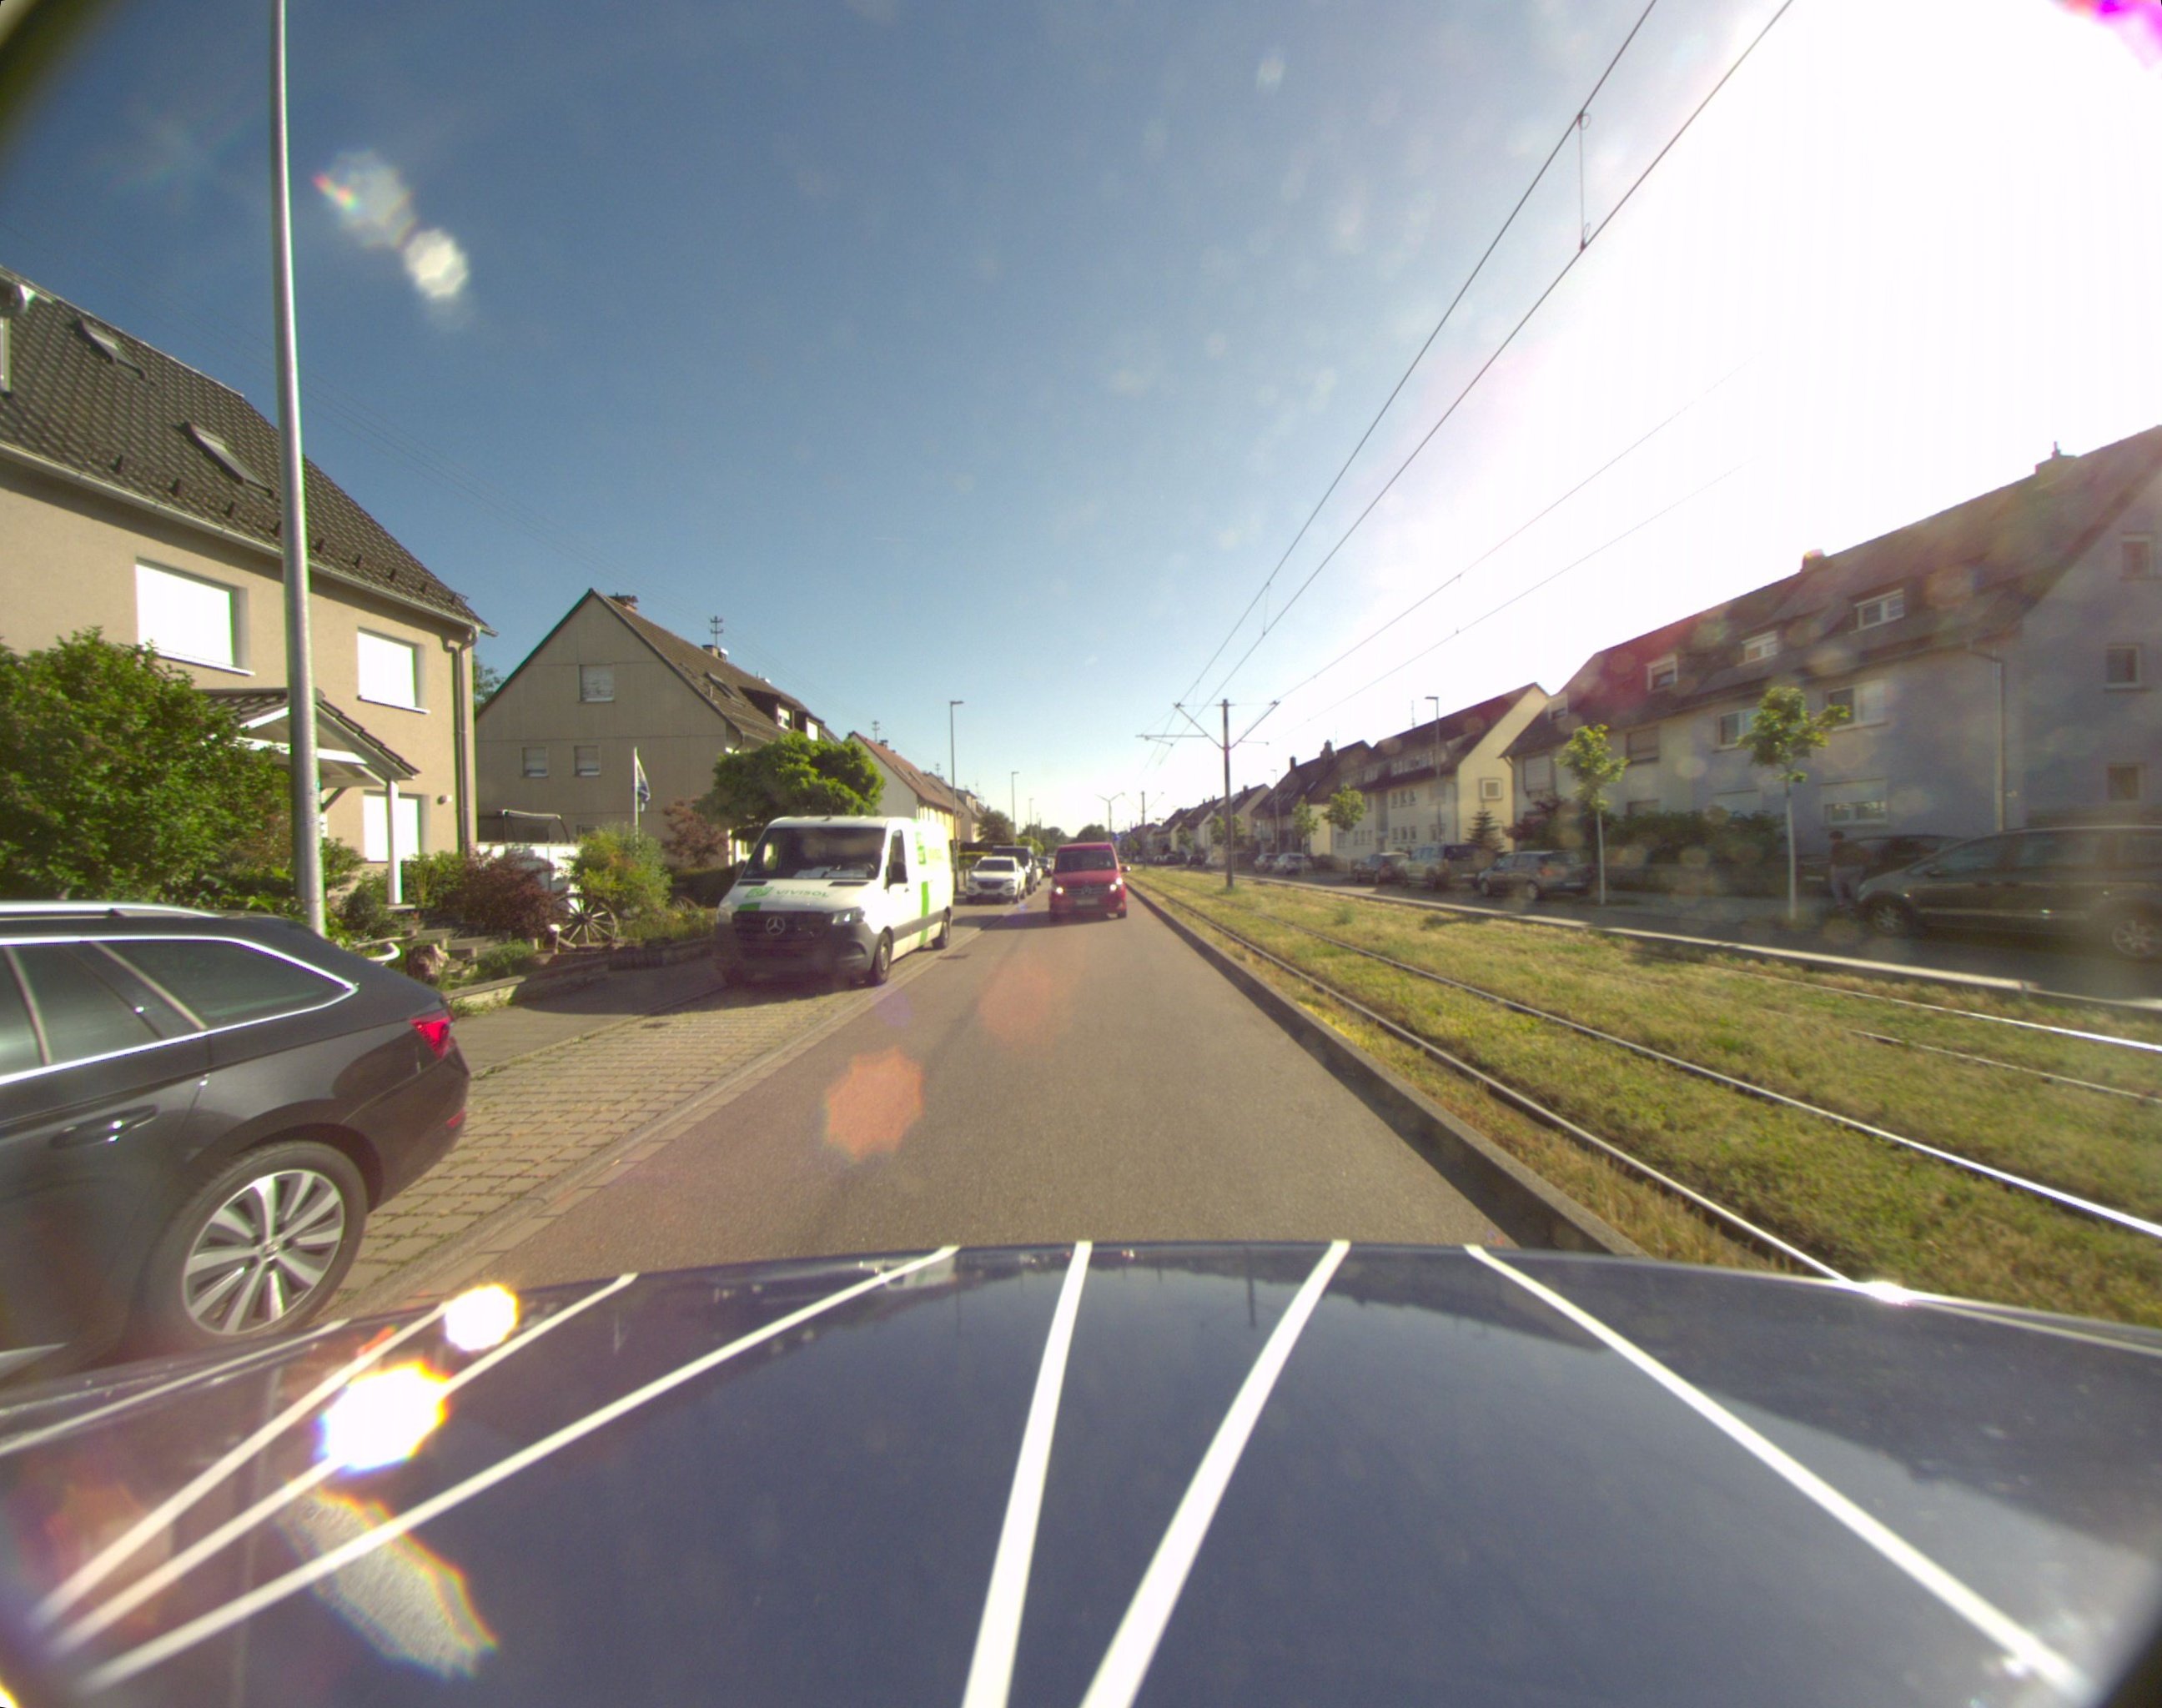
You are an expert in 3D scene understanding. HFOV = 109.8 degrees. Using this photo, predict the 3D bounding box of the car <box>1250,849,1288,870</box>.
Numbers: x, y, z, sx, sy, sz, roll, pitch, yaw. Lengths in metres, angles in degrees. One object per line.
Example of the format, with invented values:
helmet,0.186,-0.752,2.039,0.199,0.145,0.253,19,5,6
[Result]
car,14.370,0.422,58.173,1.693,1.464,4.314,-3,1,-1

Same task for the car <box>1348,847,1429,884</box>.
car,14.366,0.497,35.780,1.965,1.531,4.556,-3,1,1

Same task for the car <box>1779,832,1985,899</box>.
car,20.329,0.265,19.373,3.642,1.453,1.691,-3,1,-4

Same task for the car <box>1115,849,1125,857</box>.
car,8.241,-0.231,160.396,1.693,1.467,3.679,-3,1,-1

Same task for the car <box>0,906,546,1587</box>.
car,-3.478,1.020,1.054,1.753,1.485,5.155,0,1,1

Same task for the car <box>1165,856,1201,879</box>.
car,7.734,0.990,57.832,1.862,1.592,4.327,1,0,-3

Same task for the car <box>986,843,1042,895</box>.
car,-2.871,0.596,33.822,1.964,2.131,5.335,0,0,1

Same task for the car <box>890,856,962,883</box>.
car,-10.449,1.013,51.521,4.426,1.645,2.196,-2,1,-3

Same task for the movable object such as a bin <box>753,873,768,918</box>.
movable object such as a bin,-8.068,1.037,19.129,0.280,1.089,0.329,-2,2,-29

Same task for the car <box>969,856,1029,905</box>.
car,-2.967,0.922,28.210,1.730,1.636,4.318,0,0,1

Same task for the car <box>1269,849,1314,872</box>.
car,14.368,0.399,52.033,1.693,1.467,4.442,-3,1,-1

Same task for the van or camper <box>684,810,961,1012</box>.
van or camper,-3.406,0.608,11.685,1.998,2.258,6.304,0,1,1

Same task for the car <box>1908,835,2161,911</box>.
car,20.638,0.382,16.412,3.620,1.465,1.705,-1,1,2

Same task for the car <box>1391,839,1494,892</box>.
car,13.975,0.399,29.723,1.749,1.812,4.841,-3,0,1

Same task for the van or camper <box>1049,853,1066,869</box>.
van or camper,-2.839,0.782,91.892,1.954,1.836,5.581,0,0,-1

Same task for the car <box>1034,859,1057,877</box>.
car,-2.917,1.134,63.144,1.752,1.438,4.699,0,-1,0

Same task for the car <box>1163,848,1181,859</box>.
car,13.796,-0.032,115.529,1.926,1.551,4.857,-3,1,-2

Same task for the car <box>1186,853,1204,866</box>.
car,14.048,0.614,94.031,1.623,1.503,4.085,-3,0,1

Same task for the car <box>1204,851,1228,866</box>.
car,14.383,0.464,81.155,1.662,1.428,4.102,-2,0,-1

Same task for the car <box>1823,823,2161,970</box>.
car,13.645,0.474,10.624,1.824,1.674,4.846,-3,0,1

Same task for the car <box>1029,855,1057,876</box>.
car,-2.833,0.839,57.395,1.782,1.490,4.728,-1,0,1

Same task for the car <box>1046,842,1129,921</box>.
car,0.110,0.664,21.448,1.999,1.889,5.389,-2,1,-1

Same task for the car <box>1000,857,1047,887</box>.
car,-3.003,0.894,40.752,1.857,1.435,5.614,1,0,2

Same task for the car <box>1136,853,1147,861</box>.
car,12.110,0.555,152.754,1.832,1.522,4.092,-3,1,-1

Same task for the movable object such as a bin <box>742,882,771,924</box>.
movable object such as a bin,-8.223,1.235,19.248,0.516,1.038,0.464,-1,1,0

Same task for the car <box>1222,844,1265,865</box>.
car,19.156,0.079,89.656,4.472,2.068,1.787,-4,1,1

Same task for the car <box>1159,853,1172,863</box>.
car,13.416,0.632,120.758,1.469,1.459,3.998,-1,0,-2

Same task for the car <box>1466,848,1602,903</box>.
car,13.915,0.604,23.619,1.680,1.482,4.049,-3,0,-1

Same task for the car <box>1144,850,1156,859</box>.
car,12.725,0.079,140.728,1.704,1.389,4.092,-3,1,-1

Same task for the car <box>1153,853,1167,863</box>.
car,13.104,0.654,125.972,1.658,1.447,4.400,-3,0,-1

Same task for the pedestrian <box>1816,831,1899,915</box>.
pedestrian,15.841,0.379,15.522,0.697,1.630,0.919,-3,1,-1
